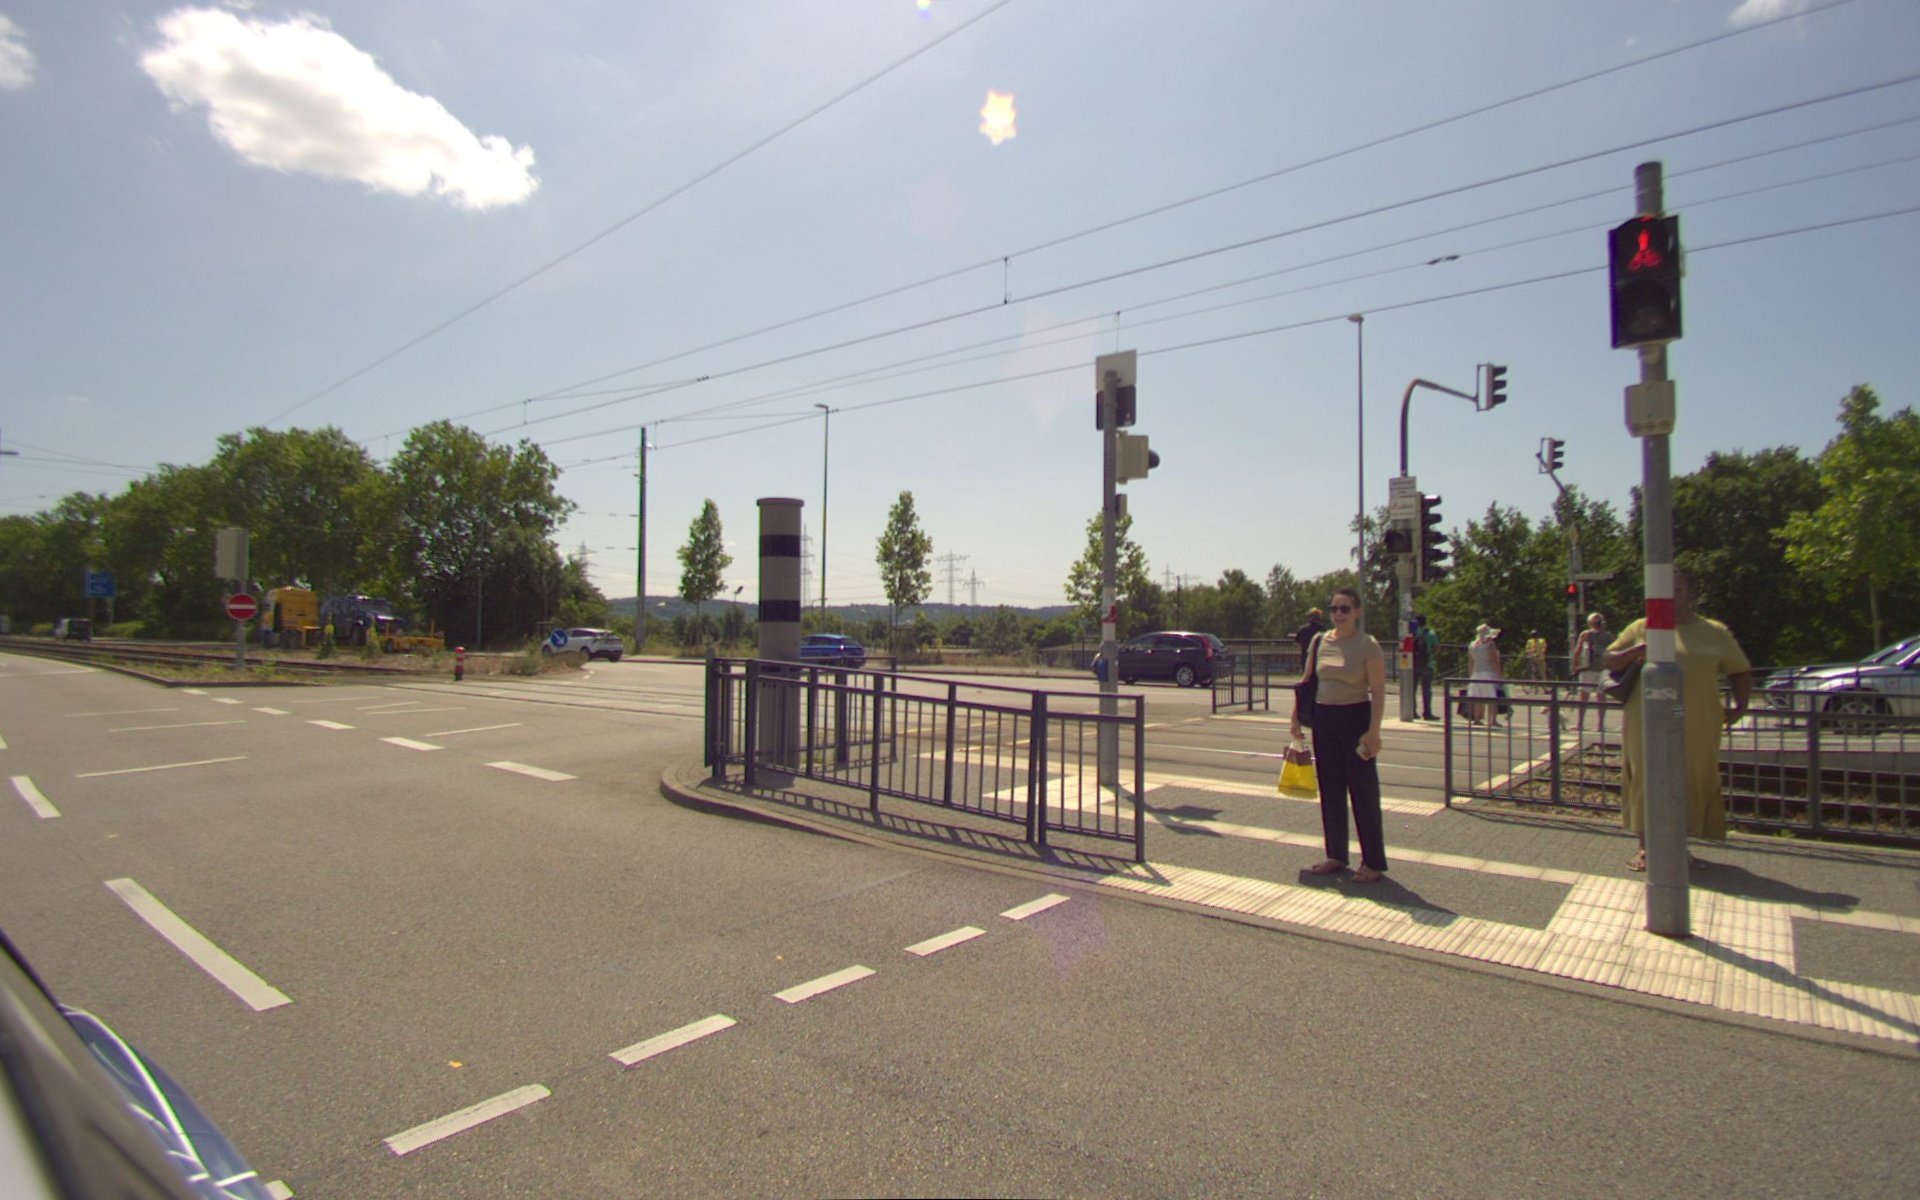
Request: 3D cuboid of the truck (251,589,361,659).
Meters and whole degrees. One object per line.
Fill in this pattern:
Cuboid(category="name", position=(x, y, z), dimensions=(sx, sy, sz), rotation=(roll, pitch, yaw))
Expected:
Cuboid(category="truck", position=(-40.523, 1.498, 62.599), dimensions=(7.458, 4.070, 3.098), rotation=(-1, -3, 35))

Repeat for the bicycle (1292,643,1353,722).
Cuboid(category="bicycle", position=(5.722, 1.255, 15.920), dimensions=(0.760, 1.109, 1.962), rotation=(-1, -1, 24))

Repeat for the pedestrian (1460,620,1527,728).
Cuboid(category="pedestrian", position=(8.011, 1.088, 15.200), dimensions=(0.762, 1.560, 0.754), rotation=(-2, -2, 37))

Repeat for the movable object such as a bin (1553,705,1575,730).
Cuboid(category="movable object such as a bin", position=(8.865, 1.719, 14.853), dimensions=(0.228, 0.323, 0.565), rotation=(-1, -2, 35))

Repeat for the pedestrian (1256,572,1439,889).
Cuboid(category="pedestrian", position=(2.158, 0.664, 5.619), dimensions=(0.763, 1.584, 0.778), rotation=(-1, -2, 36))

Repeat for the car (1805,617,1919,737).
Cuboid(category="car", position=(14.317, 1.046, 13.991), dimensions=(3.997, 1.641, 1.973), rotation=(-2, -2, 41))

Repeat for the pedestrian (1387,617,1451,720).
Cuboid(category="pedestrian", position=(7.561, 1.102, 16.657), dimensions=(0.762, 1.622, 0.947), rotation=(-2, -2, 37))

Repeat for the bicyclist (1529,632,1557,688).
Cuboid(category="bicyclist", position=(16.929, 1.734, 29.406), dimensions=(0.579, 1.622, 0.544), rotation=(1, -3, -45))

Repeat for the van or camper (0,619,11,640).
Cuboid(category="van or camper", position=(-118.971, 3.608, 124.512), dimensions=(5.829, 2.606, 1.977), rotation=(-1, -3, 34))

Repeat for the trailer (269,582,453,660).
Cuboid(category="trailer", position=(-34.894, 1.426, 58.473), dimensions=(15.447, 3.901, 3.087), rotation=(-3, -4, 35))

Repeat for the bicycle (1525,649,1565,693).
Cuboid(category="bicycle", position=(17.062, 2.059, 29.519), dimensions=(1.511, 1.202, 0.590), rotation=(1, -2, -44))

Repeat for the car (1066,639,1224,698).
Cuboid(category="car", position=(5.565, 2.004, 30.471), dimensions=(4.290, 1.642, 1.980), rotation=(-1, -2, 29))

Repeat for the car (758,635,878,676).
Cuboid(category="car", position=(-5.526, 2.104, 39.210), dimensions=(4.333, 1.456, 1.979), rotation=(-1, -1, 31))

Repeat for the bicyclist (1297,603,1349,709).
Cuboid(category="bicyclist", position=(5.777, 0.871, 16.087), dimensions=(0.729, 1.627, 0.661), rotation=(-1, -1, 23))

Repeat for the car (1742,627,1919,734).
Cuboid(category="car", position=(15.423, 1.277, 16.602), dimensions=(3.997, 1.641, 1.973), rotation=(-2, -2, 40))

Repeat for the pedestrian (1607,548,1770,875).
Cuboid(category="pedestrian", position=(4.101, 0.584, 5.724), dimensions=(0.677, 1.685, 0.725), rotation=(-1, -2, 36))

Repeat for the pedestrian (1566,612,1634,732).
Cuboid(category="pedestrian", position=(9.391, 1.031, 14.849), dimensions=(0.762, 1.685, 0.754), rotation=(-2, -2, 37))

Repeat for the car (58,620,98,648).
Cuboid(category="car", position=(-73.090, 2.865, 83.834), dimensions=(4.432, 1.852, 1.972), rotation=(-8, -9, 42))

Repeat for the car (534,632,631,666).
Cuboid(category="car", position=(-17.432, 2.236, 46.675), dimensions=(4.262, 1.474, 1.979), rotation=(-1, -2, 31))
